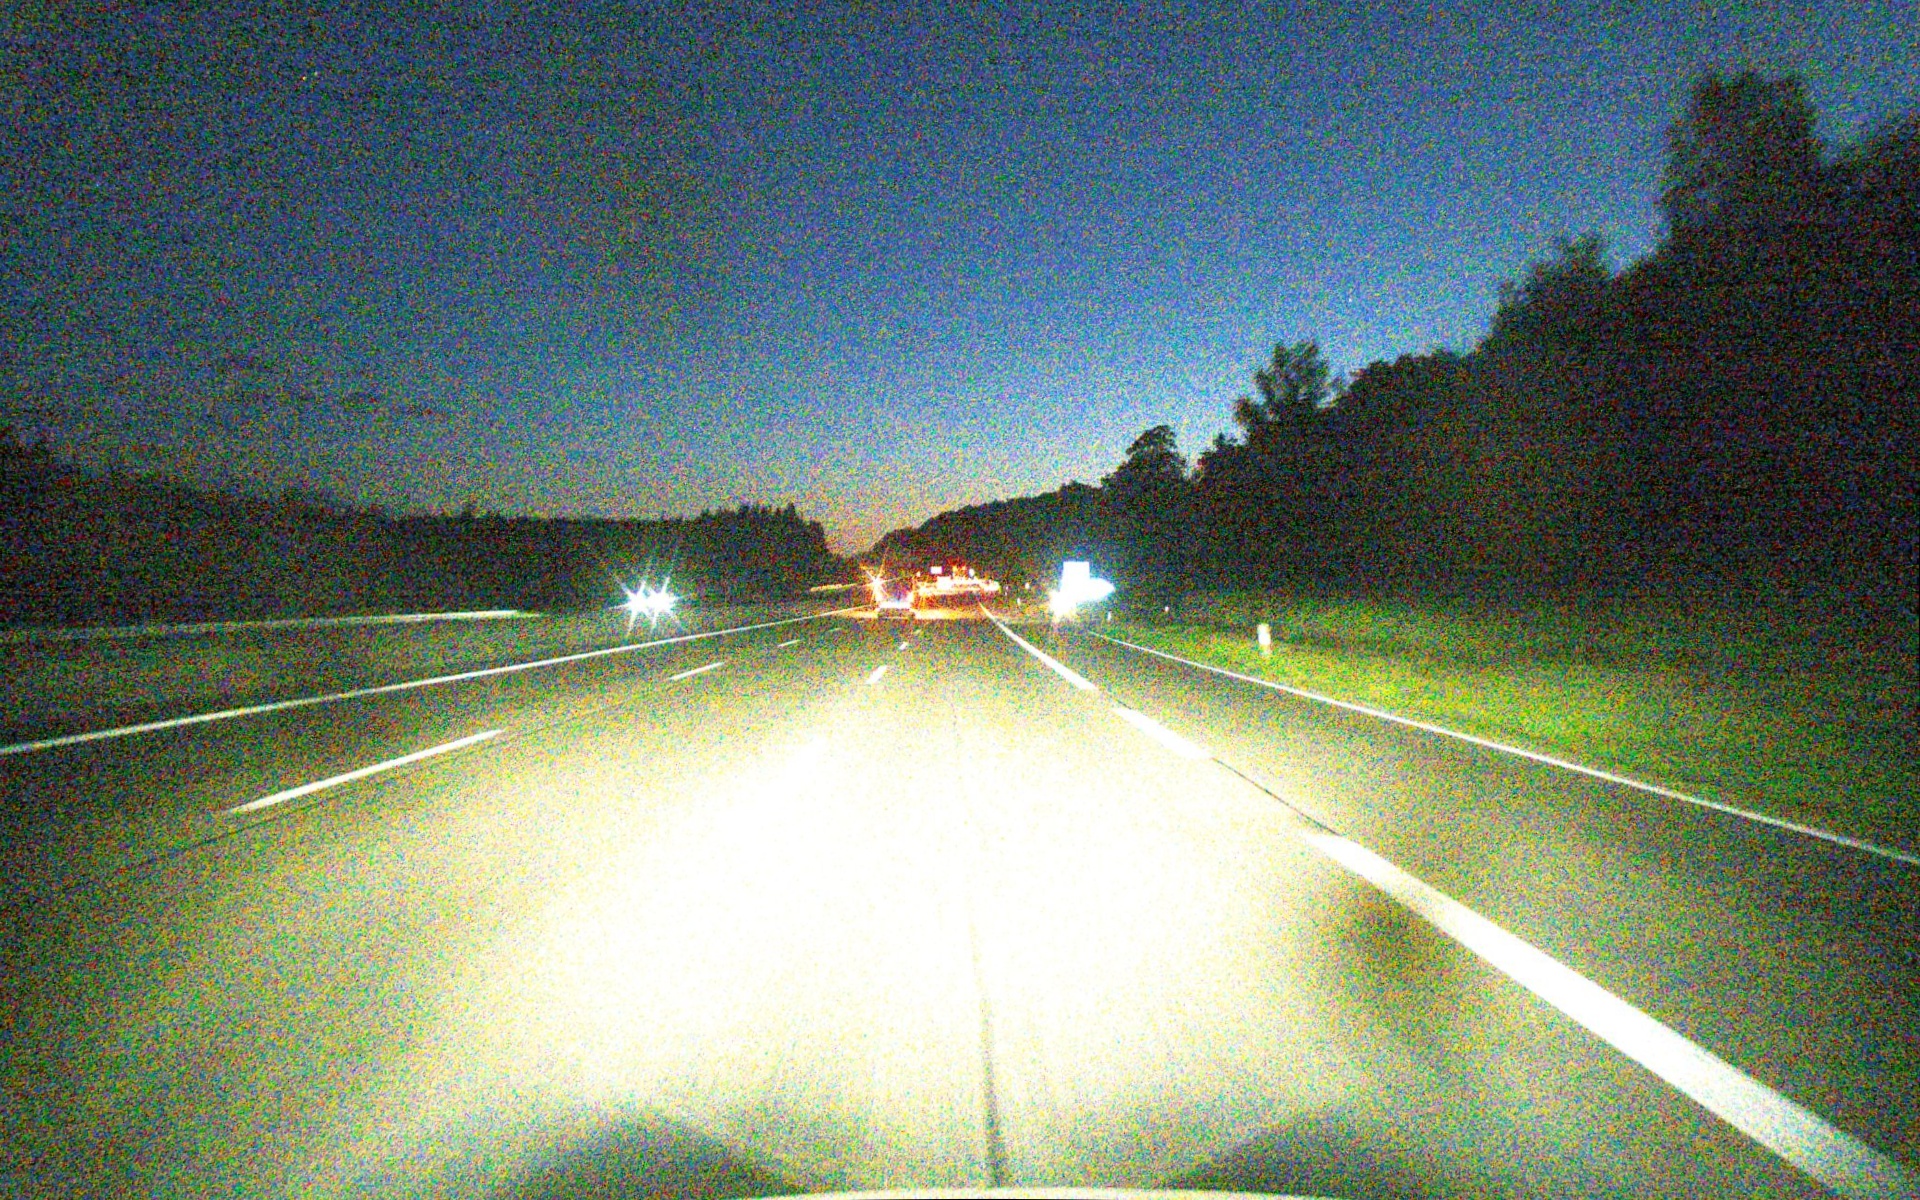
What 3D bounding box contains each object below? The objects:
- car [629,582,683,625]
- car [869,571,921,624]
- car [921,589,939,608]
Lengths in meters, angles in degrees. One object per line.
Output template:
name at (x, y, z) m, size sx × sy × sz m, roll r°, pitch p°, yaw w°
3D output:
car at (-22.316, 0.294, 121.683) m, size 2.788 × 2.989 × 6.600 m, roll 1°, pitch -1°, yaw -1°
car at (-3.575, -0.078, 92.305) m, size 2.730 × 2.781 × 6.297 m, roll 1°, pitch -1°, yaw -1°
car at (-4.727, -0.177, 256.793) m, size 2.730 × 2.781 × 6.296 m, roll 1°, pitch -1°, yaw -2°
